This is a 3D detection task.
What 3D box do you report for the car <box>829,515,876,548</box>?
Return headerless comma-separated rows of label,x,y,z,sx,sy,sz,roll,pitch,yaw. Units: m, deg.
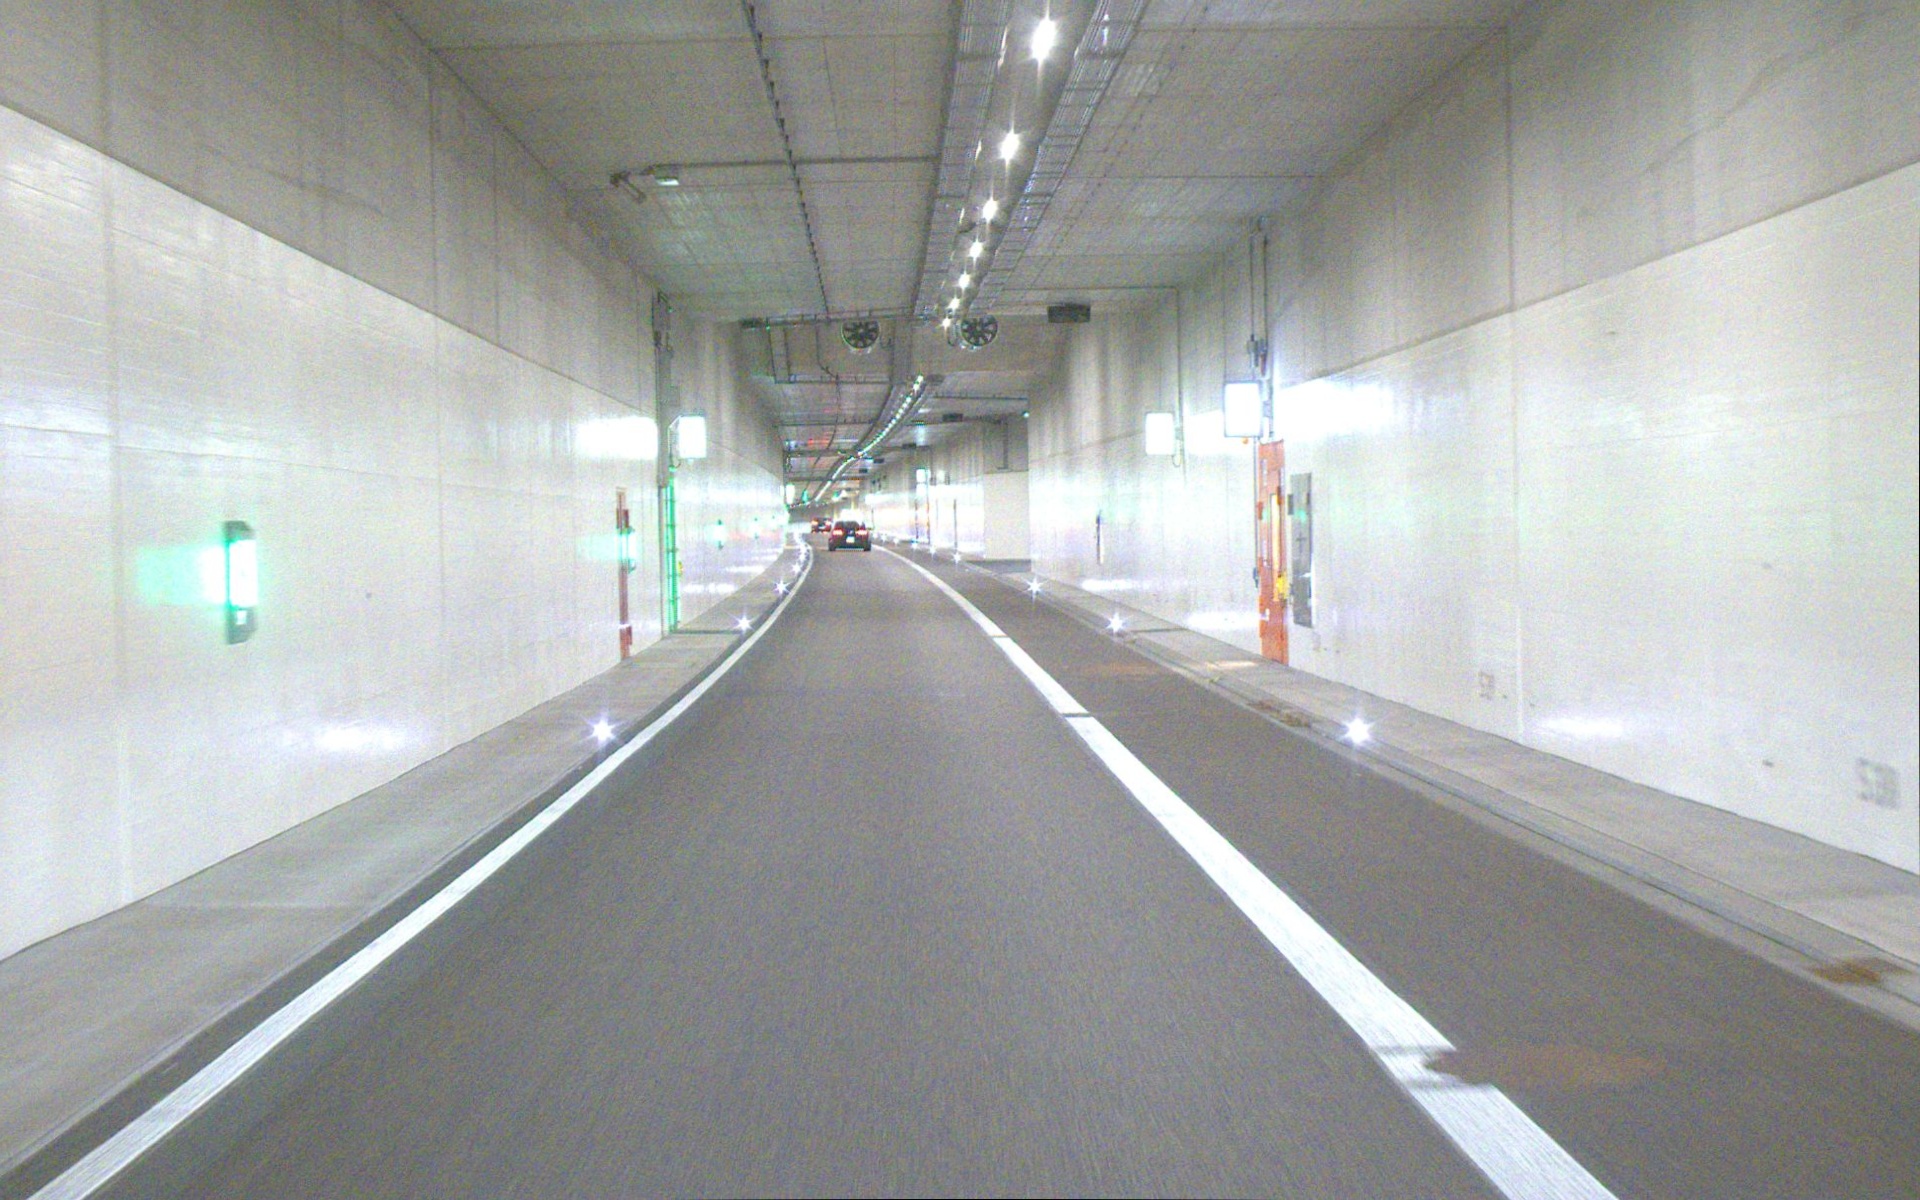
car,-4.852,-3.083,155.079,1.993,1.415,4.001,-2,2,-3
